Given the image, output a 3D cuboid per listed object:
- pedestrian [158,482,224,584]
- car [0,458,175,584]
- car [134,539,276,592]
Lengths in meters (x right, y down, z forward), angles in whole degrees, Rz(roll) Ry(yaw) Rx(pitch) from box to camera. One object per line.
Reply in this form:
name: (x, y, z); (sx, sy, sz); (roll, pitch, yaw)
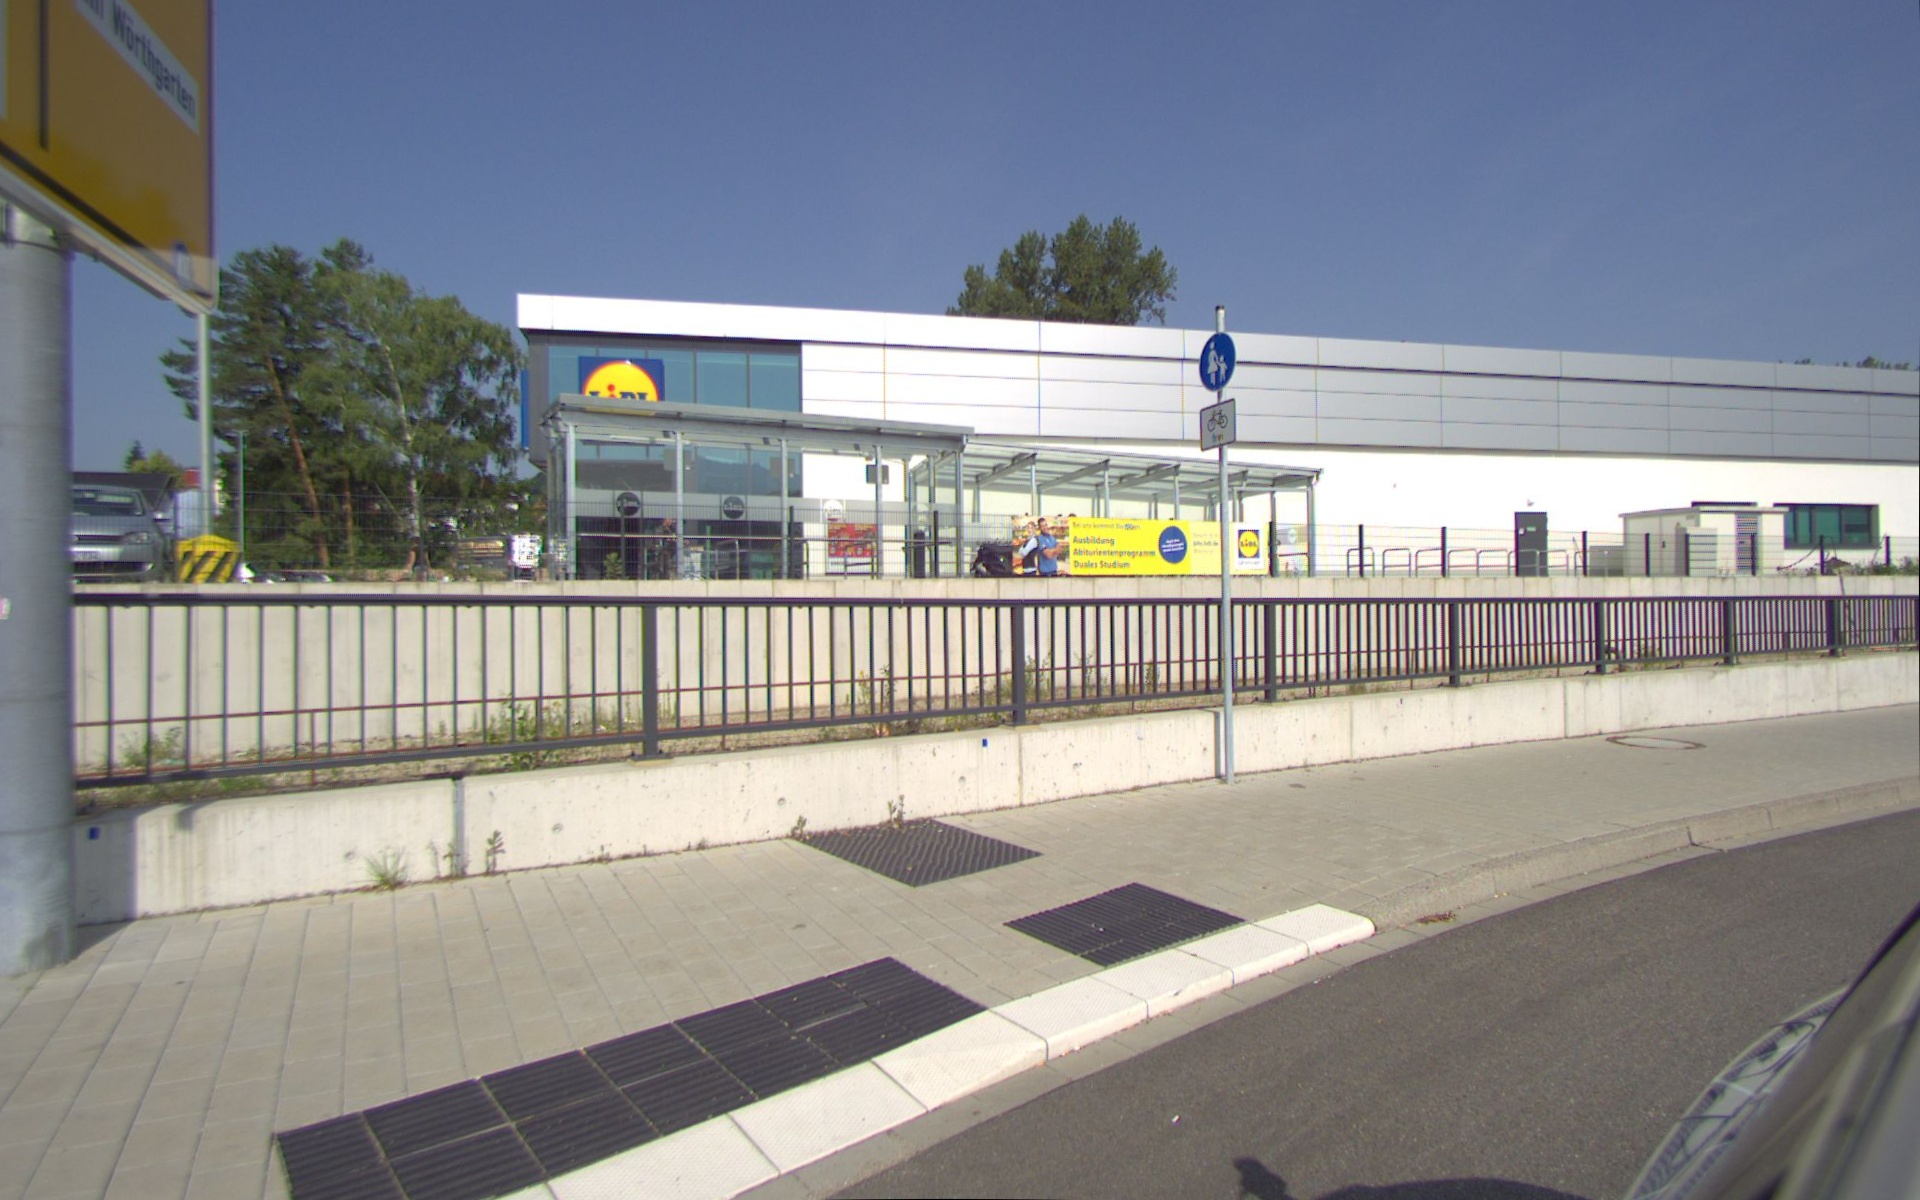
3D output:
pedestrian: (-10.407, -0.894, 13.712); (0.644, 1.328, 0.549); (-1, 0, -32)
car: (-11.711, -0.935, 13.540); (1.648, 1.382, 3.818); (0, 0, -34)
car: (-24.547, -1.129, 33.068); (3.557, 1.650, 1.603); (-1, 1, -32)
